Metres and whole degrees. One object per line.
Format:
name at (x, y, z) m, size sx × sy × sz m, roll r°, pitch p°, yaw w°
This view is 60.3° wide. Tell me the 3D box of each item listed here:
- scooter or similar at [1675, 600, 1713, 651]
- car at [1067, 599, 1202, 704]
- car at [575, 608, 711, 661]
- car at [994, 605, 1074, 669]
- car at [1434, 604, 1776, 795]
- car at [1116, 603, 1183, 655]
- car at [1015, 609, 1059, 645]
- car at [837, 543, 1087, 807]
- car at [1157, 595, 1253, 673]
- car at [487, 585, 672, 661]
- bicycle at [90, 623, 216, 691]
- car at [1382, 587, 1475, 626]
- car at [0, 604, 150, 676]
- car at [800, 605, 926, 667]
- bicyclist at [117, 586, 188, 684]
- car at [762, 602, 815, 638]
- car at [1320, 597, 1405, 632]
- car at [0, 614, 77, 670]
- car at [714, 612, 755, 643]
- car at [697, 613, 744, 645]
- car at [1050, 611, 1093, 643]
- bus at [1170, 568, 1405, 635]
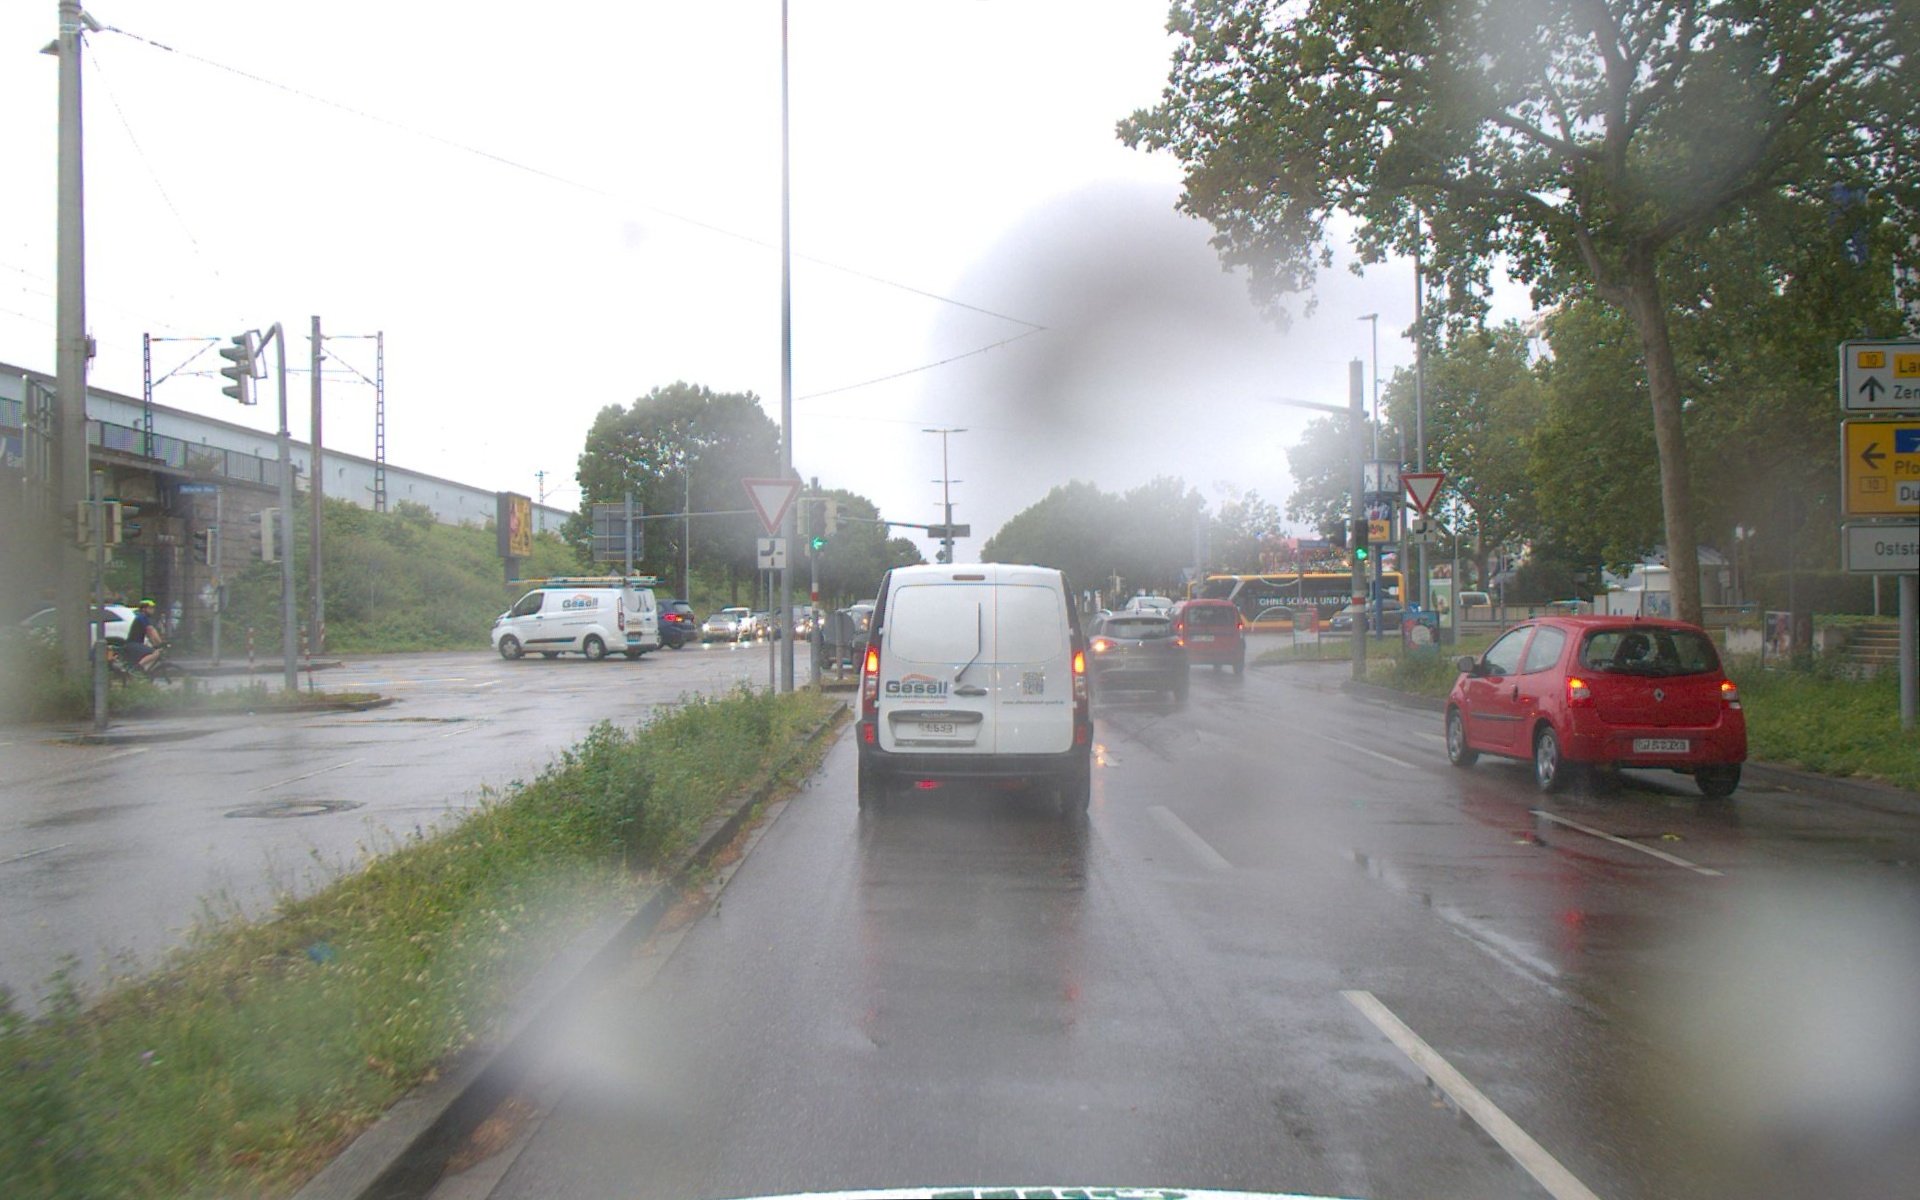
scooter or similar at (17.092, 0.592, 38.512) m, size 1.164 × 1.158 × 0.336 m, roll -1°, pitch 0°, yaw -41°
car at (2.910, 0.835, 28.295) m, size 1.805 × 1.646 × 3.999 m, roll 1°, pitch 0°, yaw -1°
car at (-10.348, 1.131, 54.030) m, size 3.849 × 1.647 × 2.001 m, roll -1°, pitch 0°, yaw 18°
car at (2.037, 0.992, 46.541) m, size 1.799 × 1.684 × 3.997 m, roll 1°, pitch 0°, yaw -3°
car at (5.670, 0.798, 15.009) m, size 1.644 × 1.517 × 3.620 m, roll 0°, pitch 0°, yaw -1°
car at (6.284, 0.957, 55.203) m, size 1.805 × 1.646 × 4.000 m, roll 1°, pitch 0°, yaw 0°
car at (3.557, 1.241, 76.742) m, size 1.952 × 1.601 × 4.001 m, roll 0°, pitch 0°, yaw 1°
car at (-0.016, 0.522, 13.399) m, size 1.720 × 1.808 × 3.999 m, roll 0°, pitch 0°, yaw -1°
car at (5.586, 0.754, 38.016) m, size 1.599 × 1.684 × 3.484 m, roll 1°, pitch 0°, yaw -1°
car at (-10.577, 0.637, 45.966) m, size 4.707 × 1.990 × 2.000 m, roll -1°, pitch 1°, yaw 23°
bicycle at (-13.683, 0.952, 28.077) m, size 1.885 × 1.114 × 0.688 m, roll 1°, pitch 0°, yaw -28°
car at (23.209, 0.321, 81.936) m, size 4.697 × 1.881 × 2.050 m, roll -1°, pitch 0°, yaw -38°
car at (-24.745, 1.077, 45.443) m, size 4.371 × 1.878 × 1.984 m, roll -1°, pitch 0°, yaw -25°
car at (-2.251, 0.793, 37.782) m, size 1.561 × 1.329 × 3.425 m, roll -1°, pitch 0°, yaw -29°
bicyclist at (-13.699, 0.599, 28.060) m, size 1.032 × 1.621 × 0.797 m, roll 1°, pitch -1°, yaw -29°
car at (-8.344, 0.965, 80.957) m, size 1.980 × 1.686 × 4.063 m, roll -1°, pitch 0°, yaw 2°
car at (20.238, 0.718, 83.074) m, size 4.297 × 1.680 × 1.907 m, roll -1°, pitch 0°, yaw -38°
car at (-27.461, 1.204, 47.104) m, size 3.951 × 1.529 × 1.752 m, roll 0°, pitch 0°, yaw -33°
car at (-11.621, 1.421, 85.483) m, size 1.791 × 1.508 × 3.997 m, roll -1°, pitch 0°, yaw -4°
car at (-11.422, 1.372, 79.026) m, size 1.854 × 1.373 × 3.998 m, roll -1°, pitch 0°, yaw -3°
car at (5.864, 1.398, 87.333) m, size 1.953 × 1.587 × 3.999 m, roll 1°, pitch 0°, yaw -1°
bus at (17.576, 0.074, 89.238) m, size 12.001 × 3.325 × 3.274 m, roll -1°, pitch 0°, yaw -1°
